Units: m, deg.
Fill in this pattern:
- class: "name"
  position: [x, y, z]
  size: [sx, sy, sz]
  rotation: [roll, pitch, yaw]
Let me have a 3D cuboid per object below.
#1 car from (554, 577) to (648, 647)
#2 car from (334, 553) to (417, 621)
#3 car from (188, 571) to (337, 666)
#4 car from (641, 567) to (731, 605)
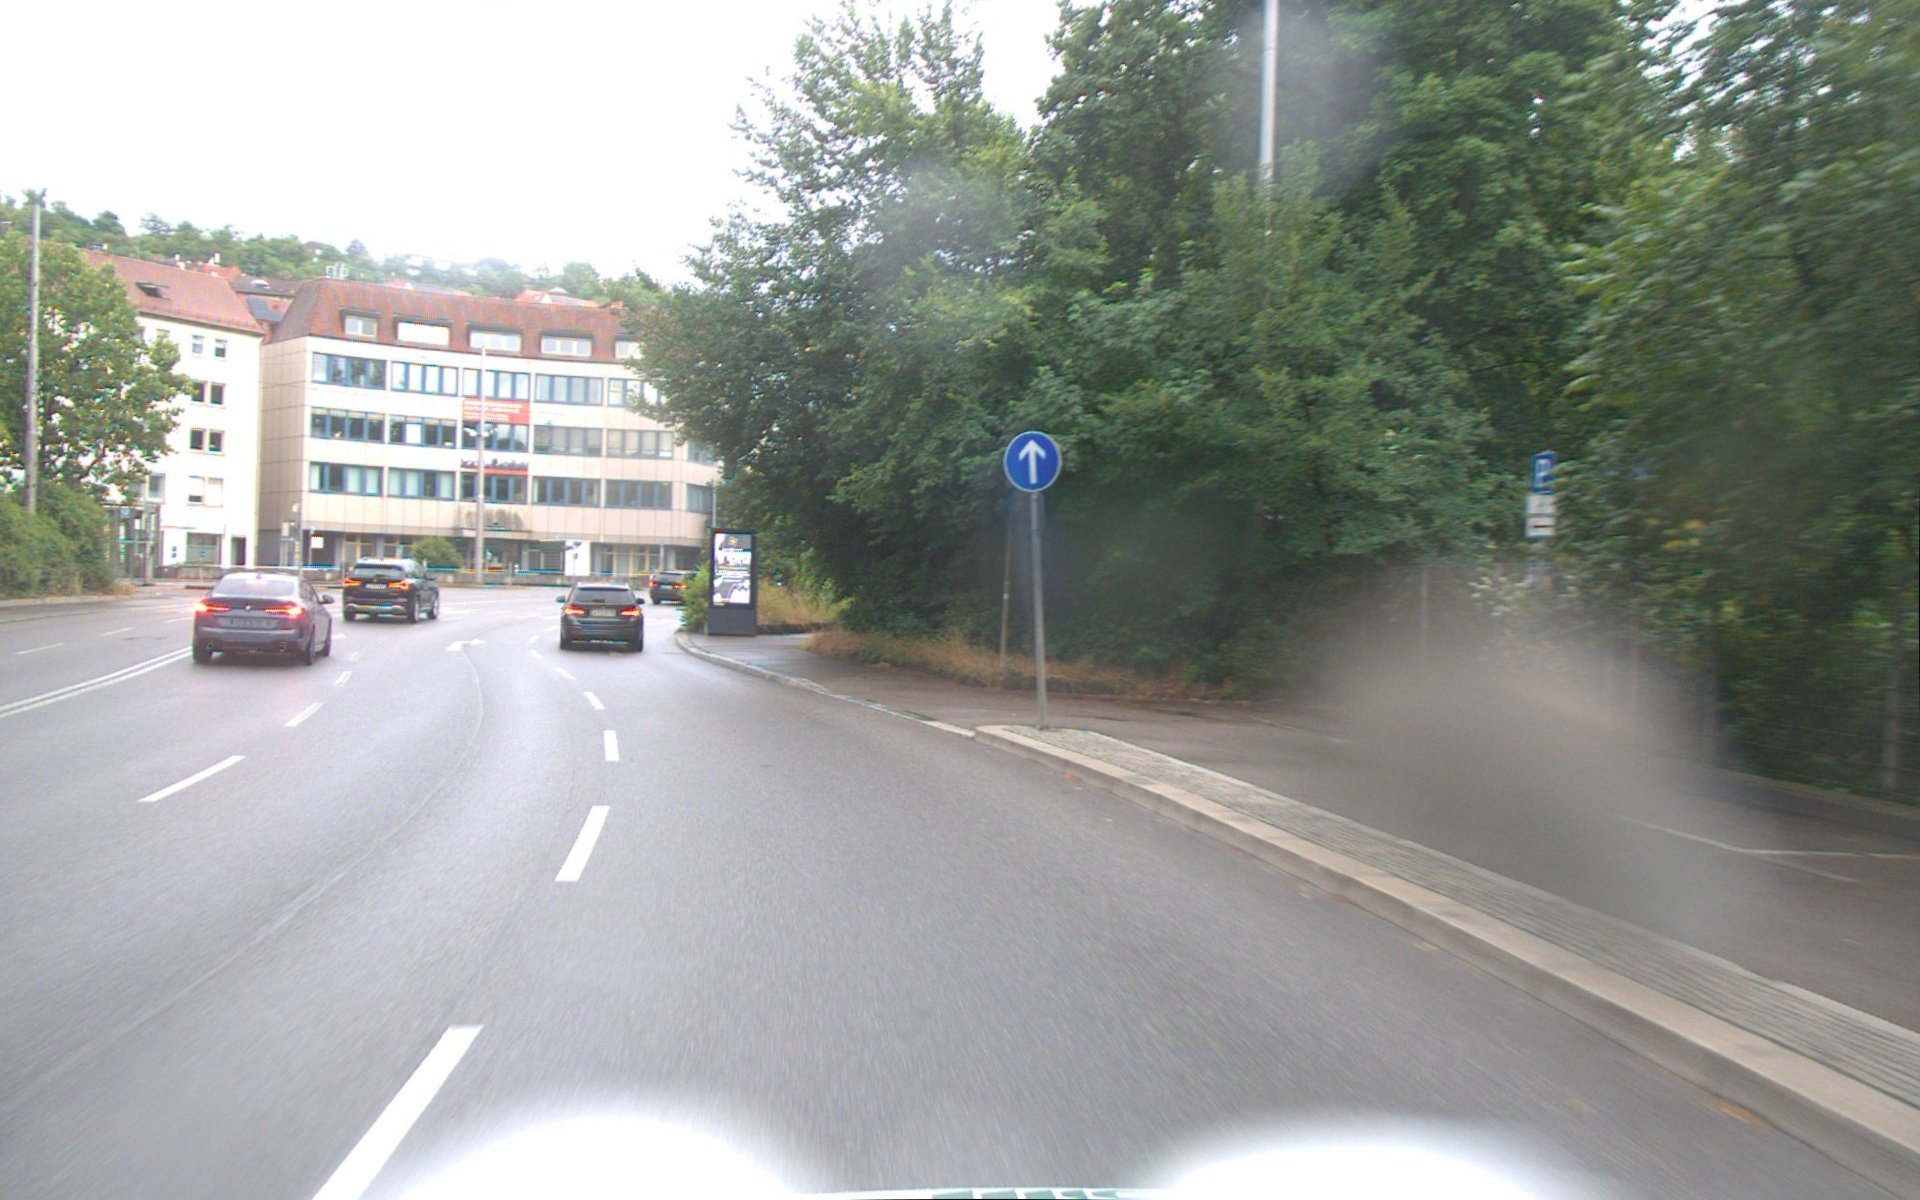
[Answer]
- class: "car"
  position: [-7.954, 0.240, 36.855]
  size: [1.924, 1.451, 4.113]
  rotation: [1, 0, -11]
- class: "car"
  position: [-15.562, -0.334, 44.192]
  size: [1.869, 1.723, 3.982]
  rotation: [1, 0, -17]
- class: "car"
  position: [-11.597, 0.282, 27.770]
  size: [1.762, 1.451, 4.365]
  rotation: [1, 0, -16]
- class: "car"
  position: [-11.440, -0.583, 69.351]
  size: [1.754, 1.450, 4.615]
  rotation: [2, 1, 18]
